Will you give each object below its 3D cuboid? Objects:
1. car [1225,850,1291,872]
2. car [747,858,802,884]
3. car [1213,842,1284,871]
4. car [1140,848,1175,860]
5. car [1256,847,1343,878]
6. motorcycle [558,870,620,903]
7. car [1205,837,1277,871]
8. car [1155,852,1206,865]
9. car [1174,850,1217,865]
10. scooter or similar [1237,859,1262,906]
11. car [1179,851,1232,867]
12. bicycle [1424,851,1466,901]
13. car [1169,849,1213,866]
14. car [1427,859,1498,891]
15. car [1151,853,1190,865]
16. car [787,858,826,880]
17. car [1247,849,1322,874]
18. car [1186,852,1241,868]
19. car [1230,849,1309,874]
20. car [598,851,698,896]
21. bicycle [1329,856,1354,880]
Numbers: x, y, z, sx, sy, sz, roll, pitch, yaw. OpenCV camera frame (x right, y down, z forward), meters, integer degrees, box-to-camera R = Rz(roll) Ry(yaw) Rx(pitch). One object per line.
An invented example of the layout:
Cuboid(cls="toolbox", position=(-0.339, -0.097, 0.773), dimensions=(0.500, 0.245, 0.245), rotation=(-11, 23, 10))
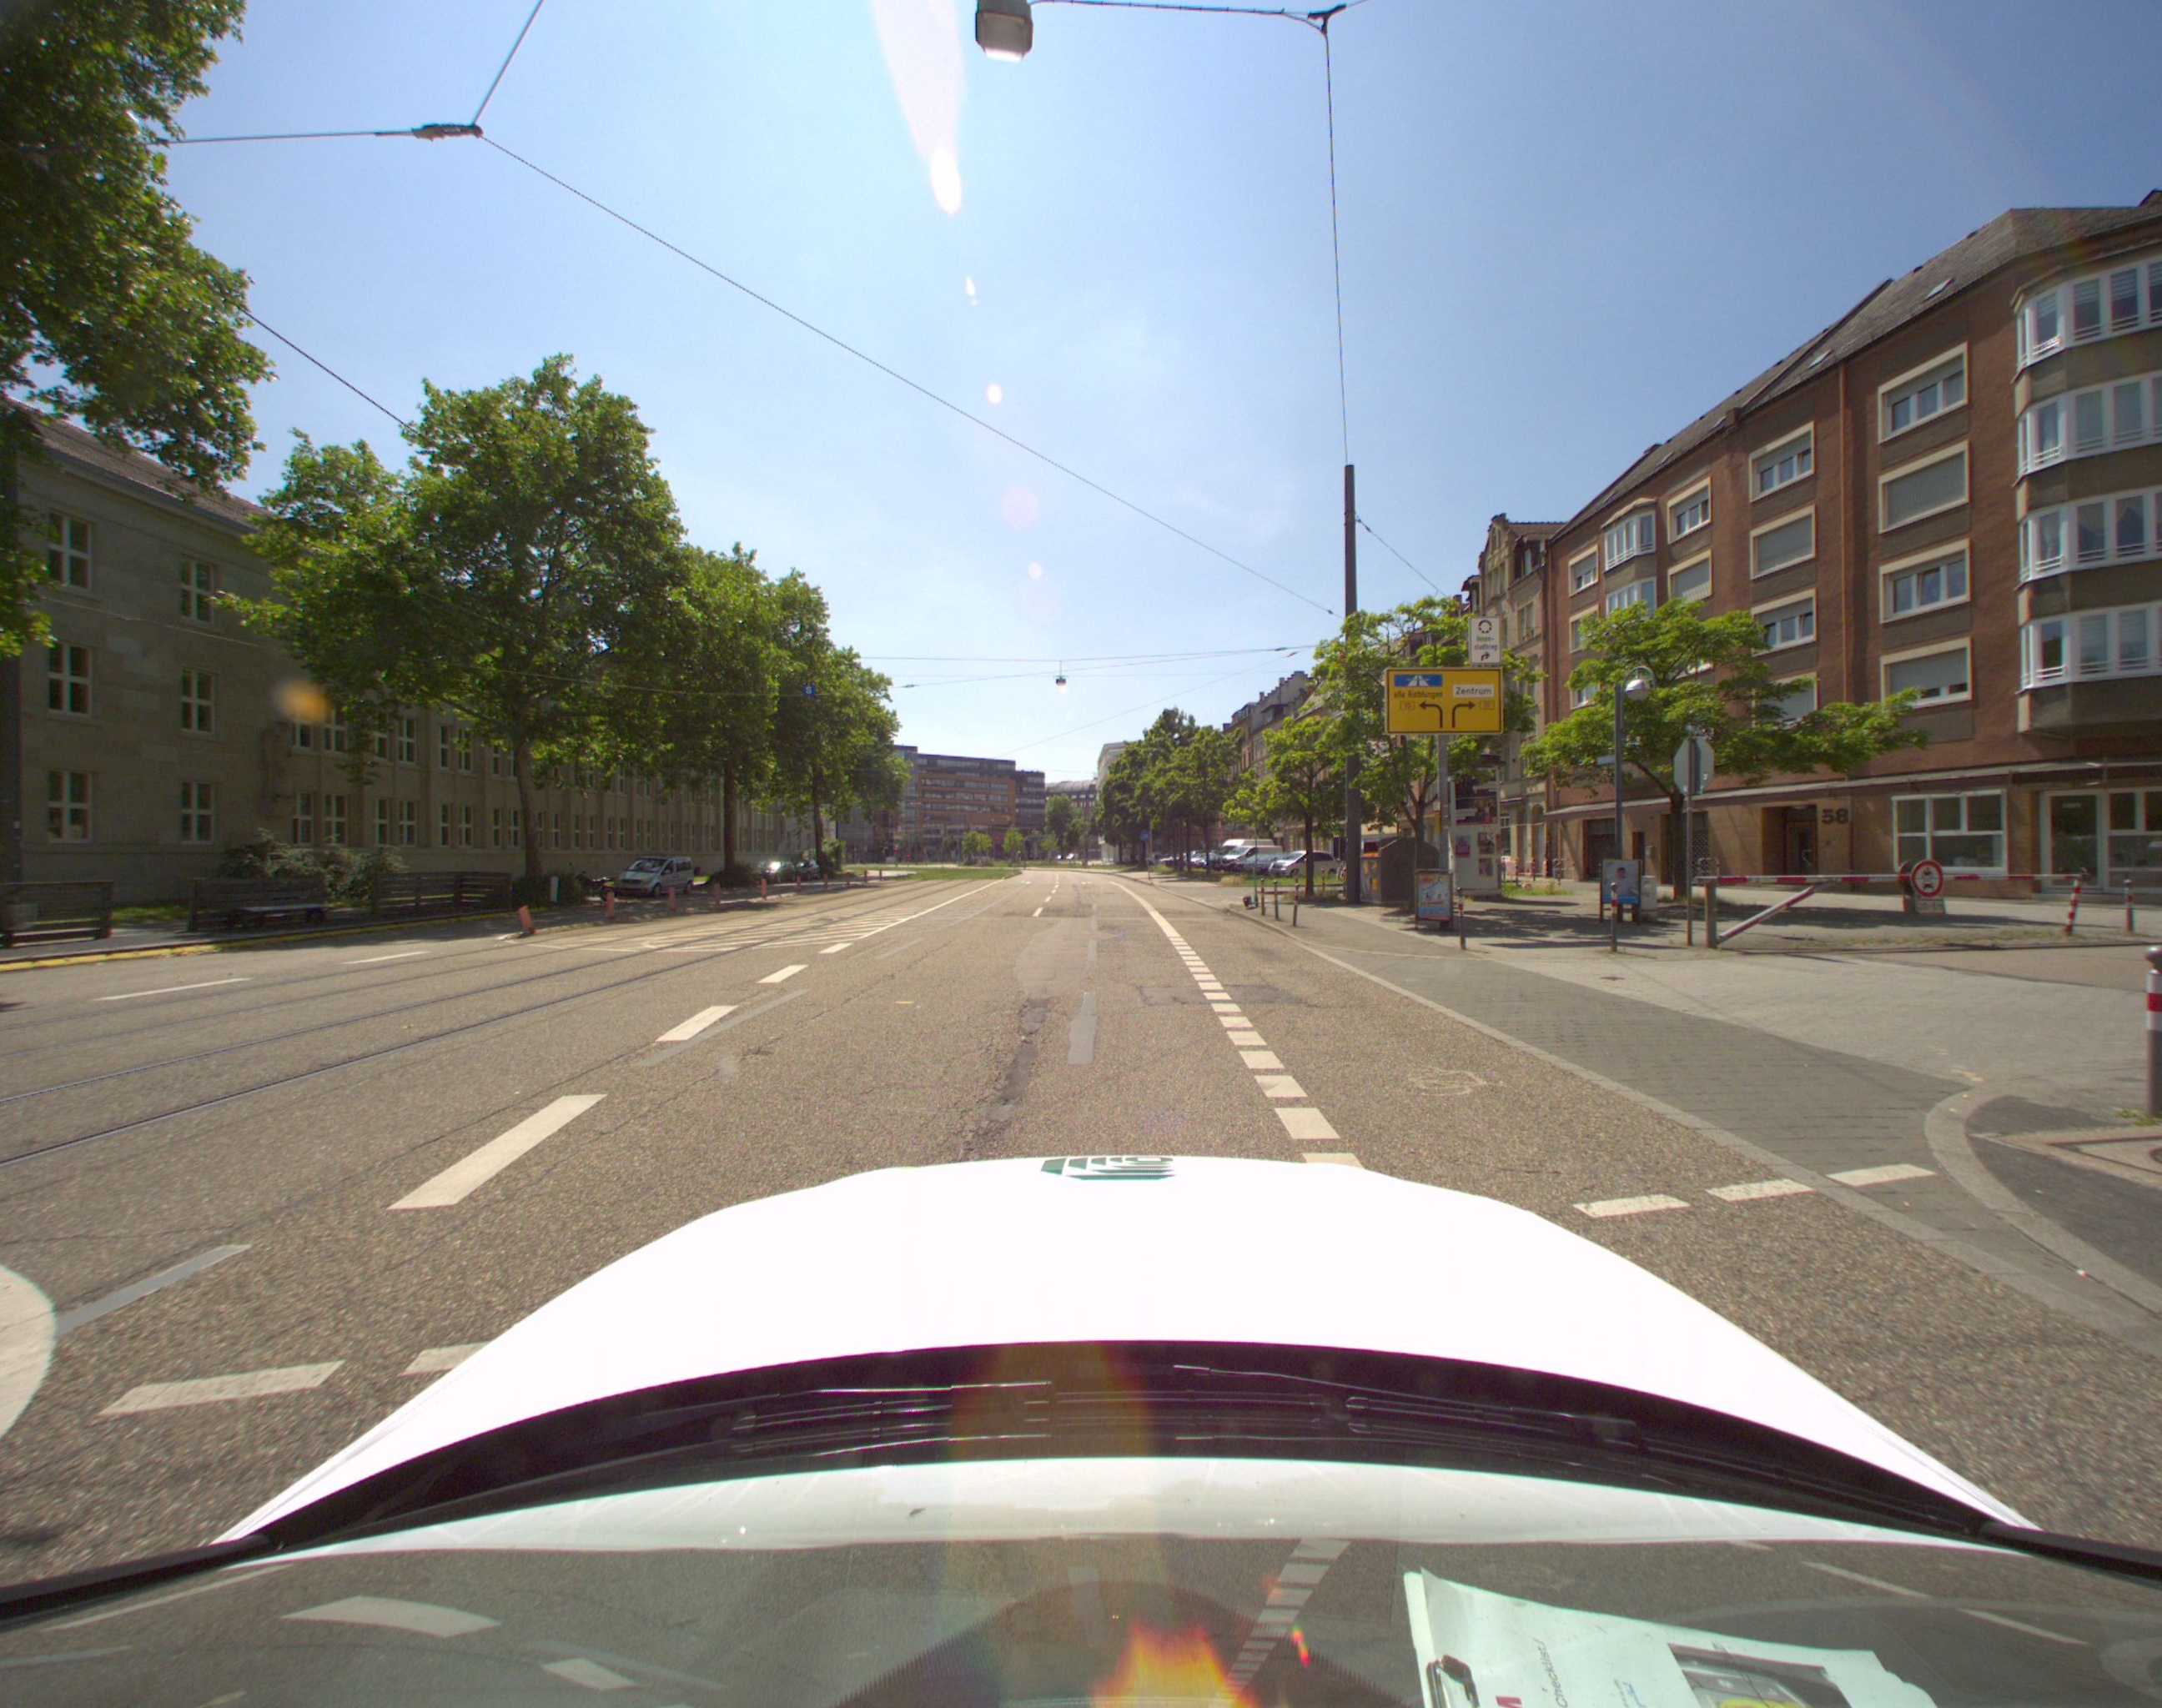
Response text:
Cuboid(cls="car", position=(11.775, 0.475, 54.260), dimensions=(4.004, 1.387, 1.810), rotation=(1, 0, -23))
Cuboid(cls="car", position=(-18.604, 1.012, 49.657), dimensions=(1.758, 1.483, 4.321), rotation=(1, 0, -1))
Cuboid(cls="car", position=(11.900, 0.209, 57.805), dimensions=(4.863, 1.973, 2.056), rotation=(1, 0, -31))
Cuboid(cls="car", position=(10.945, 0.041, 116.635), dimensions=(4.888, 1.601, 1.819), rotation=(1, 0, -29))
Cuboid(cls="car", position=(12.053, 0.463, 44.890), dimensions=(4.418, 1.632, 1.984), rotation=(1, 0, -24))
Cuboid(cls="motorcycle", position=(-18.400, 1.221, 30.496), dimensions=(1.878, 1.068, 0.720), rotation=(7, -4, -33))
Cuboid(cls="car", position=(12.050, 0.044, 61.237), dimensions=(5.578, 2.460, 2.212), rotation=(1, 0, -39))
Cuboid(cls="car", position=(10.292, 0.431, 84.151), dimensions=(4.793, 1.313, 2.133), rotation=(1, 0, -24))
Cuboid(cls="car", position=(11.077, 0.308, 78.924), dimensions=(4.016, 1.400, 1.694), rotation=(1, 0, -34))
Cuboid(cls="scooter or similar", position=(4.727, 0.795, 22.861), dimensions=(0.387, 1.214, 1.186), rotation=(-4, 1, 22))
Cuboid(cls="car", position=(11.080, 0.436, 72.452), dimensions=(4.715, 1.427, 1.950), rotation=(1, 0, -39))
Cuboid(cls="bicycle", position=(9.760, 0.576, 21.874), dimensions=(0.511, 1.289, 1.548), rotation=(1, 0, 3))
Cuboid(cls="car", position=(11.054, 0.313, 81.982), dimensions=(4.010, 1.662, 1.954), rotation=(1, 0, -28))
Cuboid(cls="car", position=(20.271, 1.091, 43.462), dimensions=(1.984, 1.600, 4.605), rotation=(1, 0, 5))
Cuboid(cls="car", position=(10.066, 0.583, 91.701), dimensions=(4.005, 1.313, 1.957), rotation=(1, 0, -24))
Cuboid(cls="car", position=(-18.656, 1.013, 55.526), dimensions=(1.585, 1.424, 4.315), rotation=(1, 0, -5))
Cuboid(cls="car", position=(11.980, 0.431, 47.917), dimensions=(4.004, 1.399, 1.810), rotation=(1, 0, -23))
Cuboid(cls="car", position=(11.254, 0.535, 68.991), dimensions=(4.449, 1.338, 1.951), rotation=(1, 0, -34))
Cuboid(cls="car", position=(11.844, 0.485, 51.072), dimensions=(4.642, 1.497, 1.949), rotation=(1, 0, -26))
Cuboid(cls="car", position=(-18.613, 0.820, 35.270), dimensions=(1.987, 1.811, 4.300), rotation=(1, 0, 0))
Cuboid(cls="bicycle", position=(13.220, 0.684, 41.303), dimensions=(0.732, 1.193, 2.375), rotation=(0, 0, 30))
